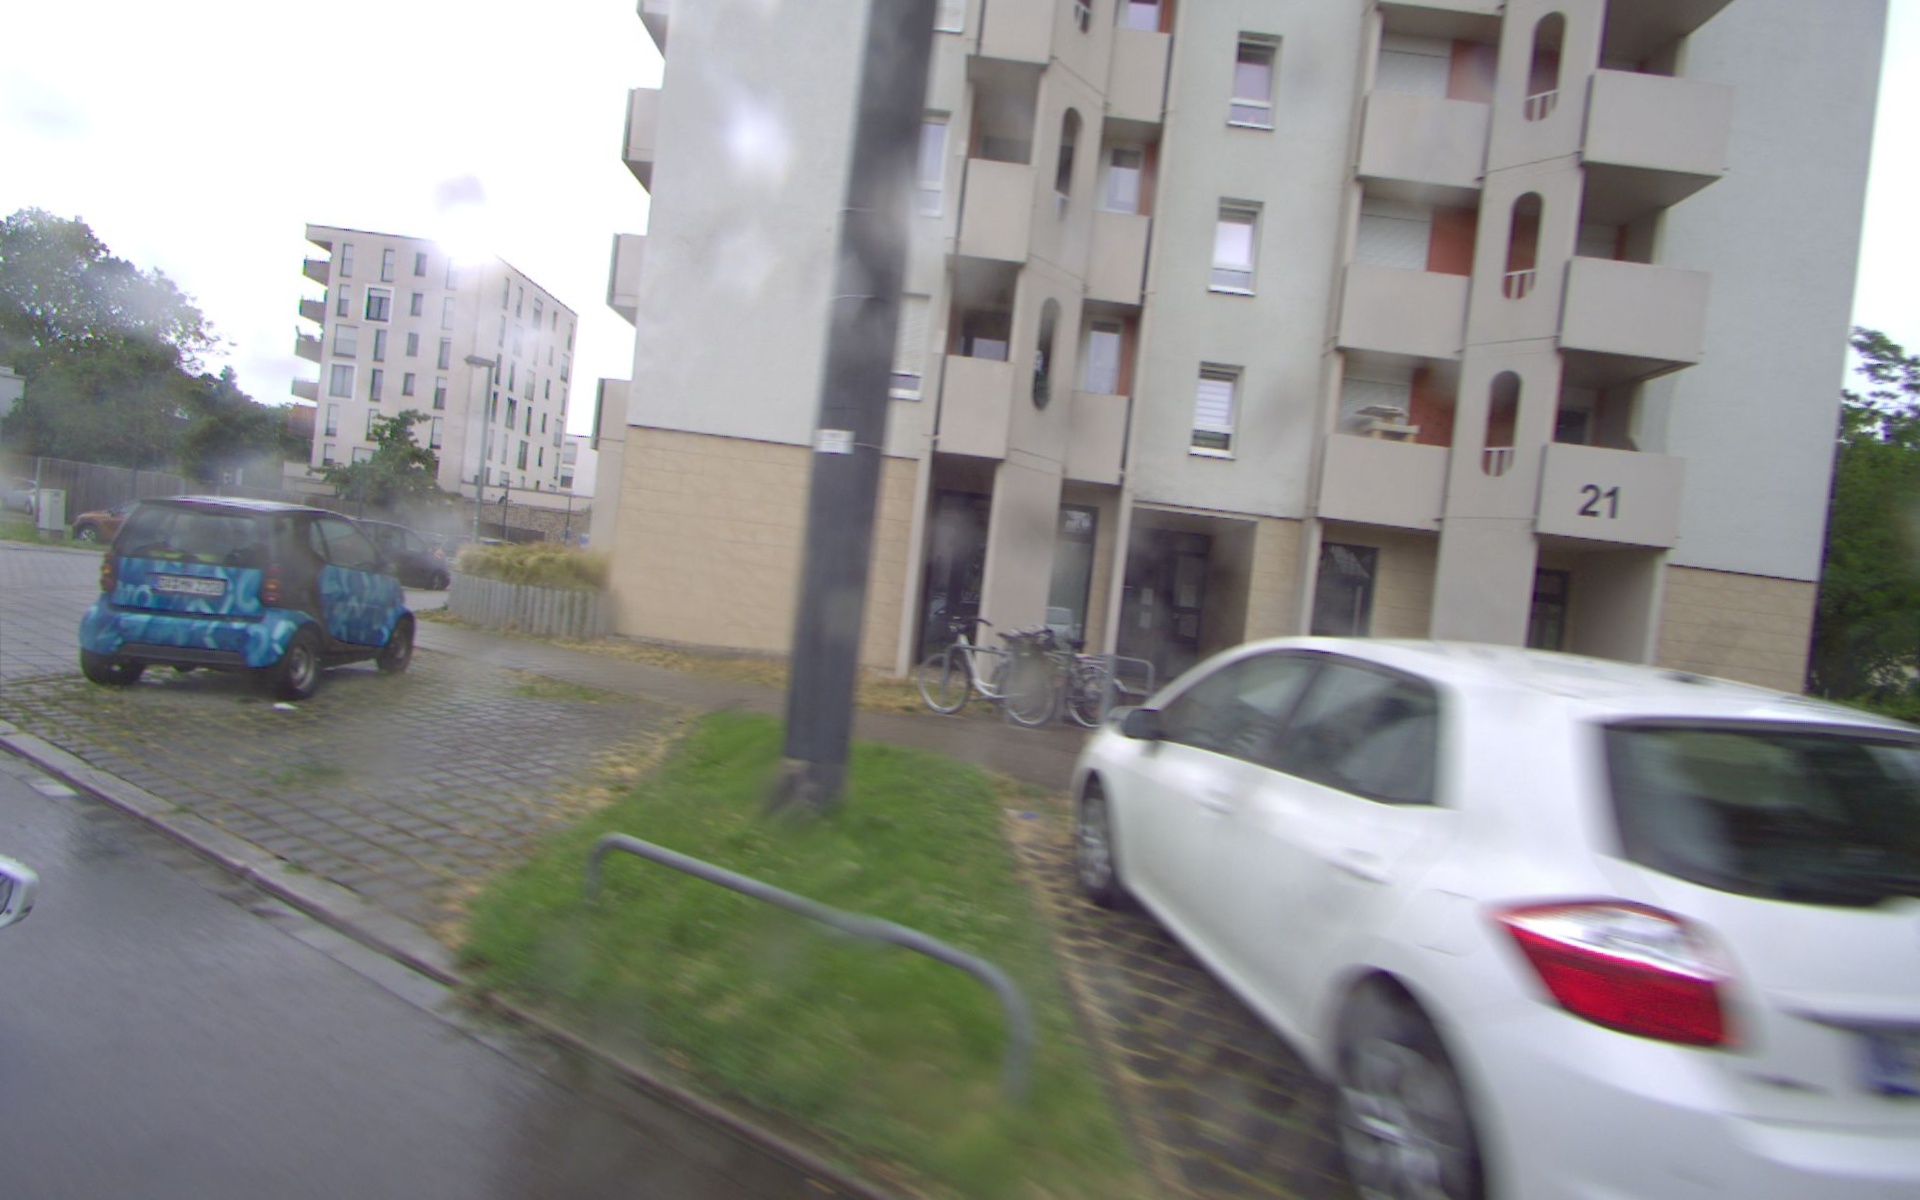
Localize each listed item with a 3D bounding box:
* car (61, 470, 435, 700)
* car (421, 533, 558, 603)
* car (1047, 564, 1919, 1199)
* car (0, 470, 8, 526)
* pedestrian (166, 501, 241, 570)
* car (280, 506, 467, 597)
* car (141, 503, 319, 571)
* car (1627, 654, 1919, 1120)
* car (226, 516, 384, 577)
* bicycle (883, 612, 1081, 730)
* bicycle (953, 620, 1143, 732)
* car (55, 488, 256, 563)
[{"bbox_3d":[-6.005,-0.119,8.846,1.575,1.567,2.561,6,1,-8],"label":"car"},{"bbox_3d":[-13.550,-0.864,29.255,1.781,1.551,4.115,8,-1,2],"label":"car"},{"bbox_3d":[1.730,0.793,3.983,1.734,1.569,4.174,6,3,-8],"label":"car"},{"bbox_3d":[-33.955,-3.675,33.703,4.819,1.806,1.964,8,0,35],"label":"car"},{"bbox_3d":[-18.907,-1.606,25.155,1.074,1.536,0.838,6,0,3],"label":"pedestrian"},{"bbox_3d":[-13.835,-1.057,24.041,1.781,1.636,4.115,8,-1,2],"label":"car"},{"bbox_3d":[-22.226,-1.897,30.716,3.924,1.458,2.001,6,-1,4],"label":"car"},{"bbox_3d":[4.214,1.176,2.830,1.654,1.451,3.936,6,3,-5],"label":"car"},{"bbox_3d":[-21.908,-1.761,33.766,3.924,1.458,2.001,6,-1,4],"label":"car"},{"bbox_3d":[0.217,0.748,11.011,2.024,1.018,0.662,6,0,32],"label":"bicycle"},{"bbox_3d":[0.990,0.852,11.601,2.024,1.018,0.662,6,0,32],"label":"bicycle"},{"bbox_3d":[-22.202,-2.039,27.857,3.924,1.458,2.001,6,-1,4],"label":"car"}]
